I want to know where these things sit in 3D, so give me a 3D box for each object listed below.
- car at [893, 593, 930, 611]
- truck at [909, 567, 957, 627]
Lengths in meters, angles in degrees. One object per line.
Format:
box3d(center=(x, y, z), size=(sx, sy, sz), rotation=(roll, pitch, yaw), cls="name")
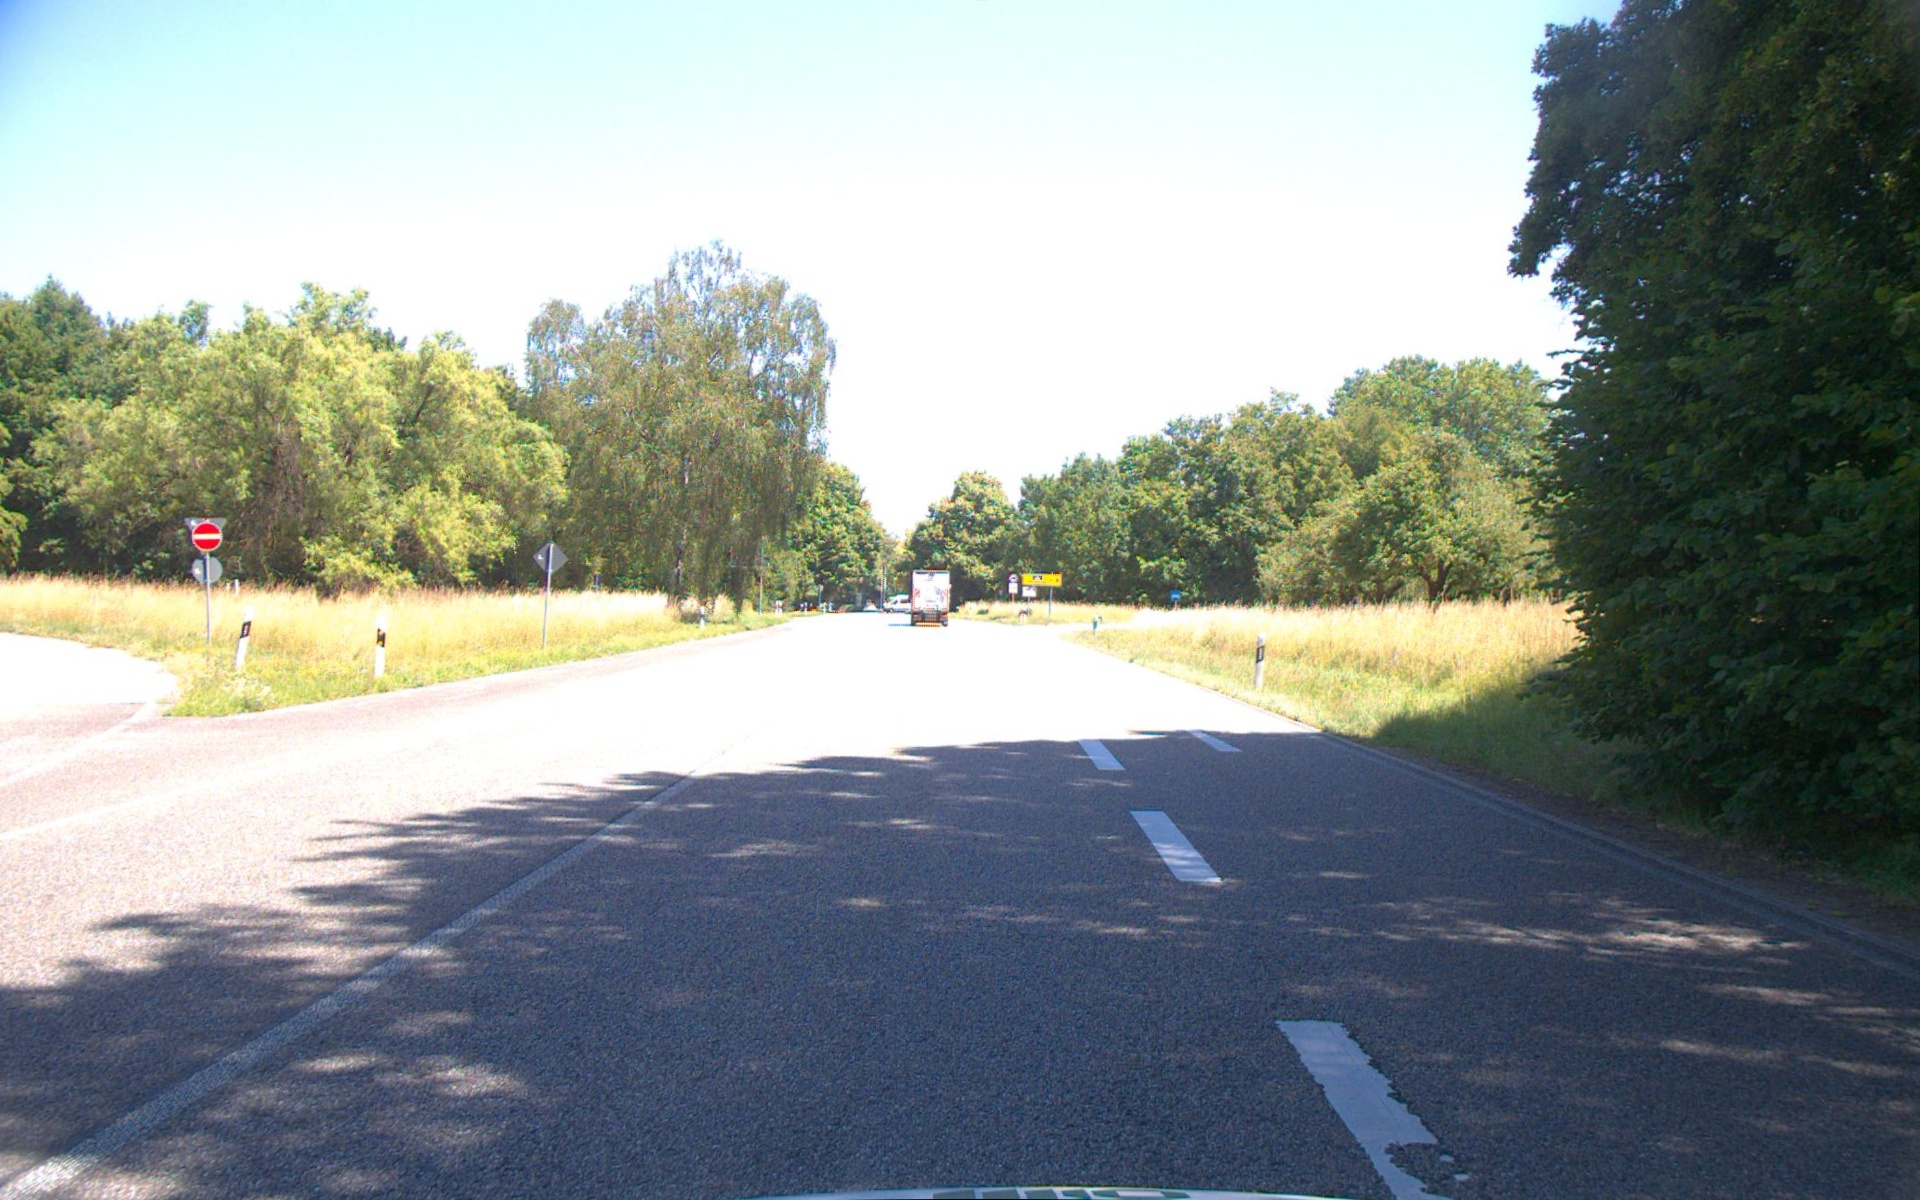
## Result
box3d(center=(-7.519, 0.368, 256.673), size=(2.040, 2.674, 6.753), rotation=(0, -1, 38), cls="car")
box3d(center=(-1.444, -0.194, 91.288), size=(2.482, 3.190, 5.361), rotation=(1, 0, 0), cls="truck")
